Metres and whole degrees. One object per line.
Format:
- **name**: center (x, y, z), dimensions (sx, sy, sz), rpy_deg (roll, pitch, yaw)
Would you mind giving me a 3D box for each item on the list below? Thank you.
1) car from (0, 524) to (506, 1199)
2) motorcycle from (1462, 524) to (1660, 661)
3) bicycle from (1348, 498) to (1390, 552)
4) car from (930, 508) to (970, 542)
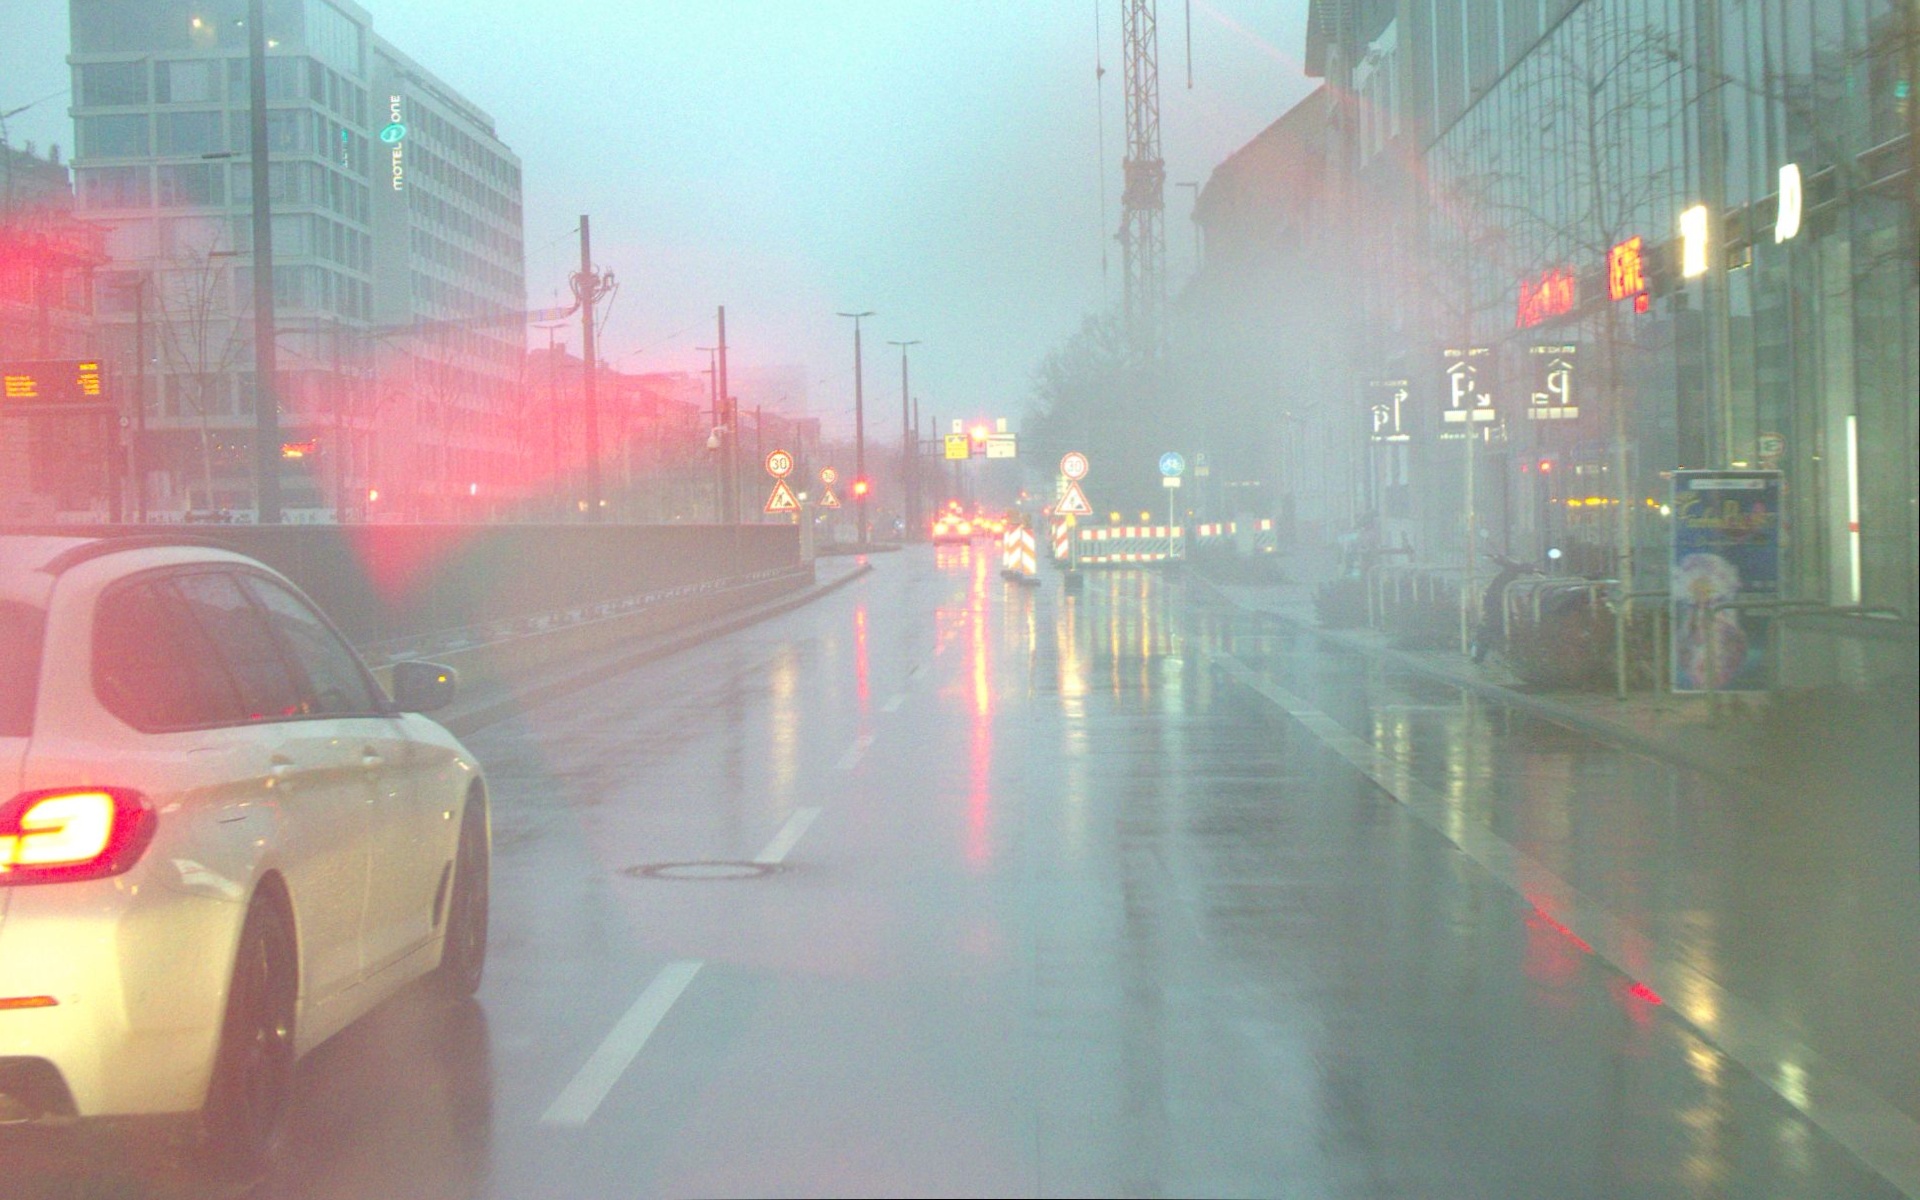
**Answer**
- **car**: center (-2.468, 0.548, 8.959), dimensions (1.852, 1.460, 4.947), rpy_deg (0, 1, 1)
- **motorcycle**: center (6.011, -0.068, 34.461), dimensions (1.908, 1.329, 0.594), rpy_deg (-1, 1, 42)
- **bicycle**: center (9.689, -1.780, 81.511), dimensions (0.682, 1.218, 1.905), rpy_deg (-4, 1, 0)
- **car**: center (-0.495, -3.723, 170.808), dimensions (1.901, 1.636, 4.000), rpy_deg (0, 1, 1)
